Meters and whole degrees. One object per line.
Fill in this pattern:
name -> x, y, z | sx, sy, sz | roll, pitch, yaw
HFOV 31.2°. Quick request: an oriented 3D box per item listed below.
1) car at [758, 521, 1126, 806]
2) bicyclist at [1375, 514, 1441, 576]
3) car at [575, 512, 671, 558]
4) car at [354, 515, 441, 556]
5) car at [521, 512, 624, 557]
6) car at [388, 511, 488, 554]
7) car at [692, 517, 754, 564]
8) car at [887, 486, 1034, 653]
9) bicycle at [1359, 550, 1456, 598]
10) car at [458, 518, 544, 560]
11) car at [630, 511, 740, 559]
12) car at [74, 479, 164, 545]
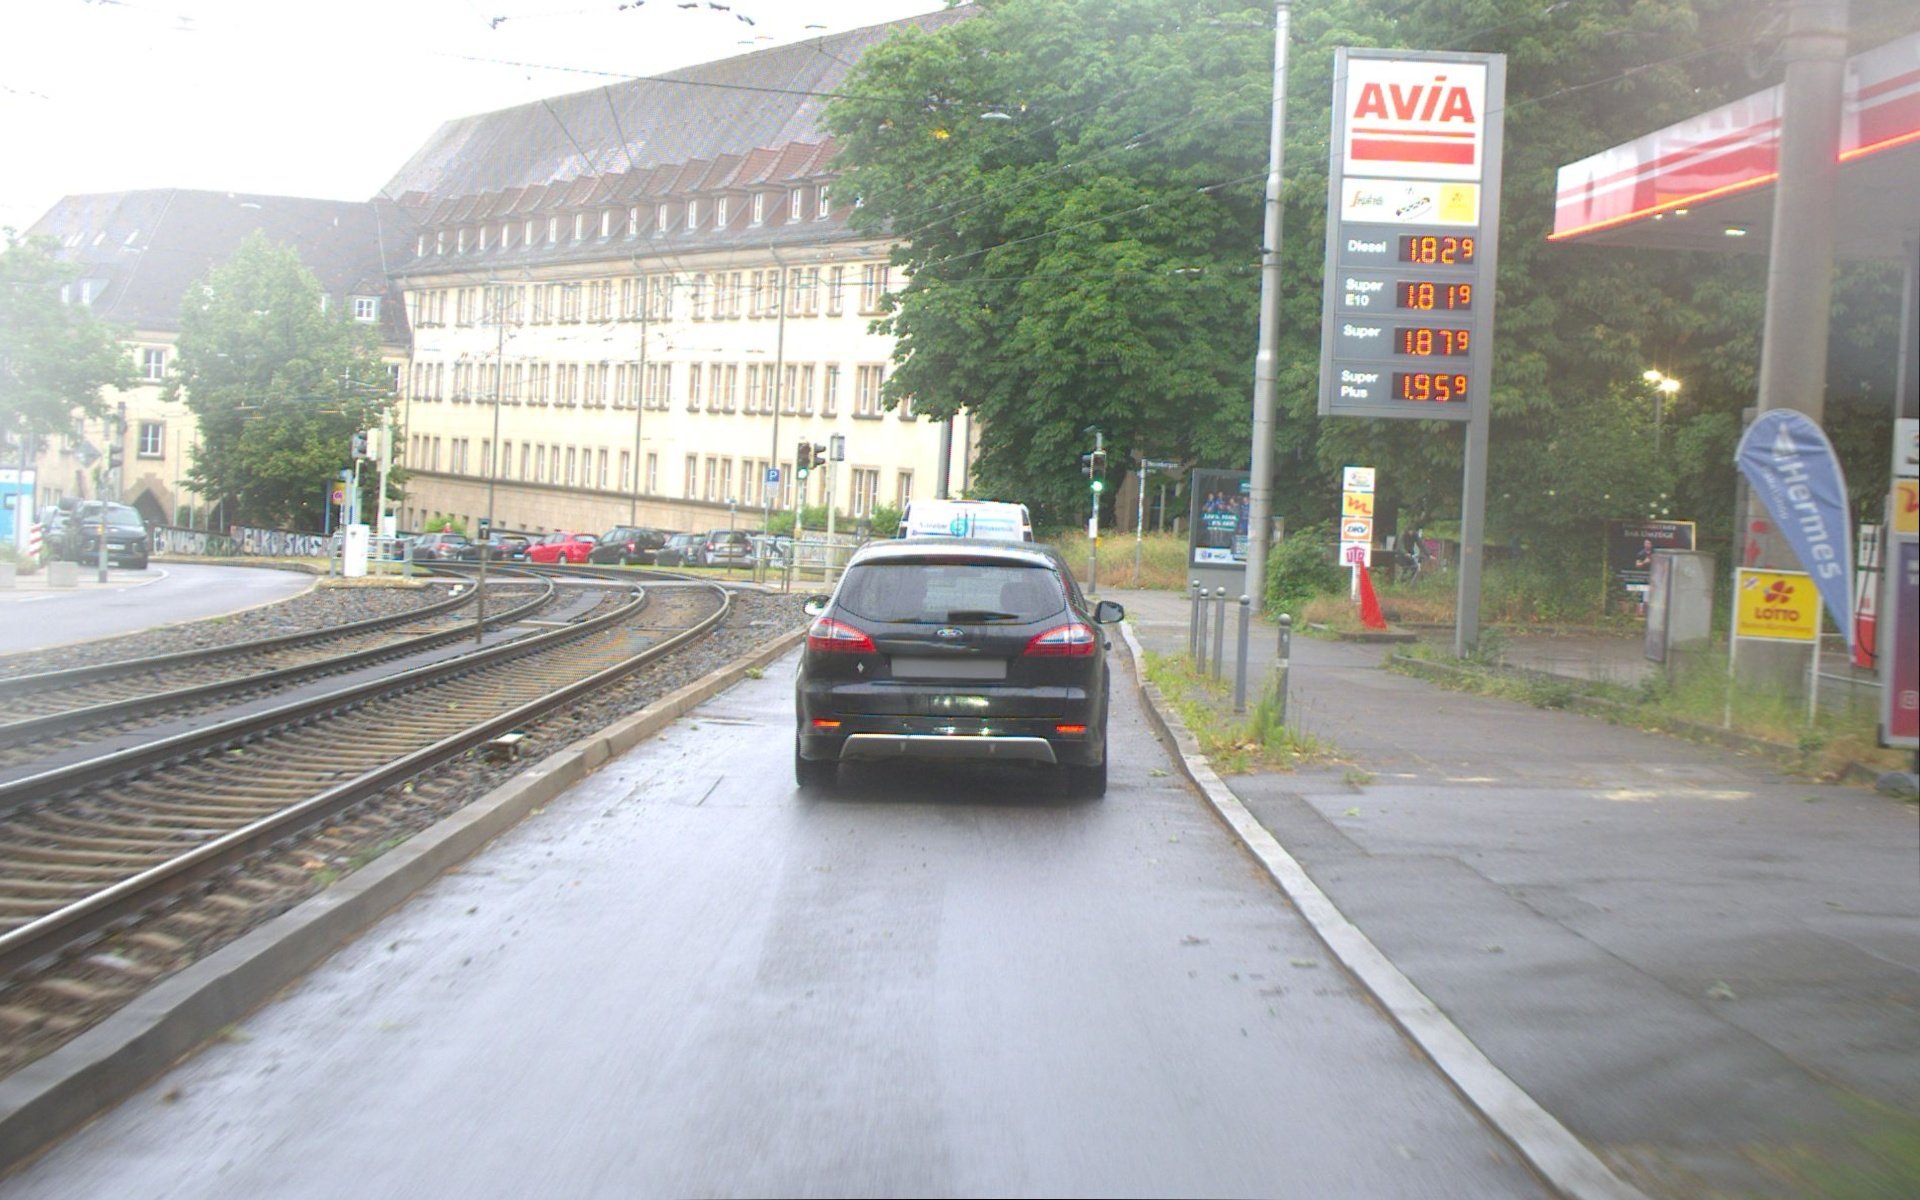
car -> -0.101, 0.322, 21.000 | 1.933, 1.448, 4.318 | 3, 1, 0
bicyclist -> 8.645, -1.060, 66.369 | 0.736, 1.175, 1.077 | 0, 1, -32
car -> -12.271, -2.385, 125.059 | 1.581, 1.537, 4.000 | 2, 1, -36
car -> -23.155, -2.651, 141.408 | 1.993, 1.537, 4.000 | 2, 1, -34
car -> -14.595, -2.460, 129.397 | 1.994, 1.537, 3.999 | 2, 1, -38
car -> -20.866, -2.692, 137.355 | 1.994, 1.537, 3.998 | 2, 1, -43
car -> -8.050, -2.019, 116.508 | 1.656, 1.471, 3.645 | 2, 1, -10
car -> -0.024, -0.402, 44.856 | 1.740, 2.007, 3.904 | 3, 1, -1
bicycle -> 8.632, -0.509, 66.413 | 0.736, 0.865, 1.997 | 0, 2, -32
car -> -17.889, -2.382, 133.978 | 1.993, 1.537, 4.001 | 1, 2, -29
car -> -9.628, -2.278, 120.161 | 1.994, 1.537, 4.000 | 2, 1, -36
car -> -21.349, -2.224, 87.368 | 1.993, 1.537, 4.001 | 2, 1, -11
